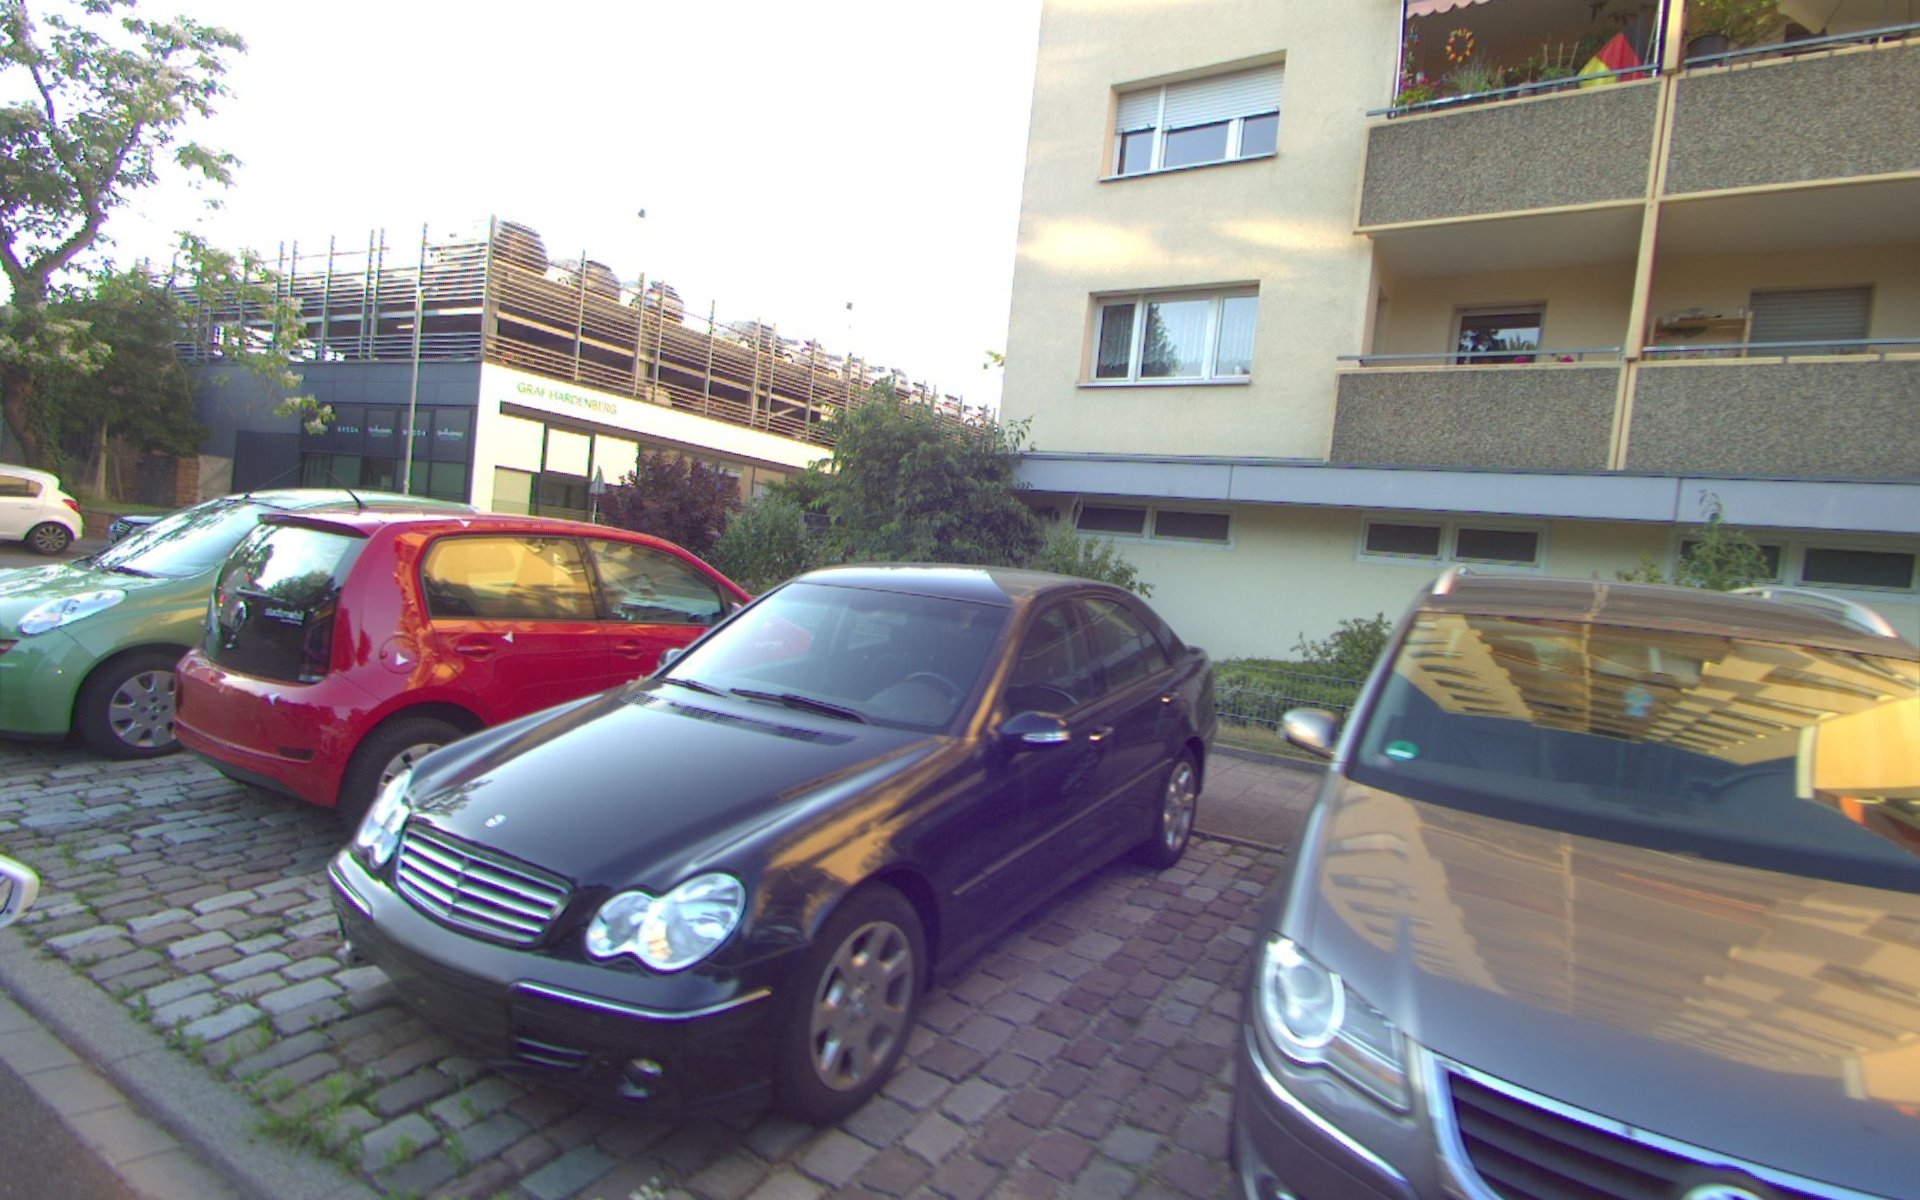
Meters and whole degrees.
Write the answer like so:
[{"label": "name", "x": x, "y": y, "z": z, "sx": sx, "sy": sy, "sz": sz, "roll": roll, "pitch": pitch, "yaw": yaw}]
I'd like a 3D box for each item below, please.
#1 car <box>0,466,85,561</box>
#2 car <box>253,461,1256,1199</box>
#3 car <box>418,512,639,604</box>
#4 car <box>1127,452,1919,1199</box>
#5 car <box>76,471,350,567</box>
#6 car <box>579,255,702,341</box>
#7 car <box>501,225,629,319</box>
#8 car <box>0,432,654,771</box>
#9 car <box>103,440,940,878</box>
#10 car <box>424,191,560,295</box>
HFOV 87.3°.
[{"label": "car", "x": -18.308, "y": -1.731, "z": 17.725, "sx": 1.924, "sy": 1.594, "sz": 3.860, "roll": 8, "pitch": 1, "yaw": 29}, {"label": "car", "x": -0.161, "y": 0.482, "z": 4.377, "sx": 1.814, "sy": 1.552, "sz": 4.406, "roll": 5, "pitch": 2, "yaw": 28}, {"label": "car", "x": -8.987, "y": -0.834, "z": 21.204, "sx": 1.794, "sy": 1.544, "sz": 3.835, "roll": 8, "pitch": 3, "yaw": 35}, {"label": "car", "x": 2.174, "y": 0.629, "z": 3.324, "sx": 1.814, "sy": 1.684, "sz": 4.404, "roll": 5, "pitch": 3, "yaw": 28}, {"label": "car", "x": -15.695, "y": -1.655, "z": 21.360, "sx": 1.794, "sy": 1.523, "sz": 4.290, "roll": 8, "pitch": 3, "yaw": 35}, {"label": "car", "x": -11.193, "y": -10.471, "z": 35.164, "sx": 3.938, "sy": 2.039, "sz": 1.993, "roll": 7, "pitch": 1, "yaw": 36}, {"label": "car", "x": -13.009, "y": -10.688, "z": 33.073, "sx": 3.938, "sy": 2.039, "sz": 1.993, "roll": 7, "pitch": 1, "yaw": 36}, {"label": "car", "x": -4.504, "y": -0.016, "z": 7.132, "sx": 1.814, "sy": 1.653, "sz": 4.407, "roll": 5, "pitch": 2, "yaw": 28}, {"label": "car", "x": -2.152, "y": 0.113, "z": 6.171, "sx": 1.815, "sy": 1.655, "sz": 4.398, "roll": 7, "pitch": 5, "yaw": 33}, {"label": "car", "x": -14.404, "y": -10.880, "z": 30.918, "sx": 3.938, "sy": 2.039, "sz": 1.993, "roll": 7, "pitch": 1, "yaw": 36}]
